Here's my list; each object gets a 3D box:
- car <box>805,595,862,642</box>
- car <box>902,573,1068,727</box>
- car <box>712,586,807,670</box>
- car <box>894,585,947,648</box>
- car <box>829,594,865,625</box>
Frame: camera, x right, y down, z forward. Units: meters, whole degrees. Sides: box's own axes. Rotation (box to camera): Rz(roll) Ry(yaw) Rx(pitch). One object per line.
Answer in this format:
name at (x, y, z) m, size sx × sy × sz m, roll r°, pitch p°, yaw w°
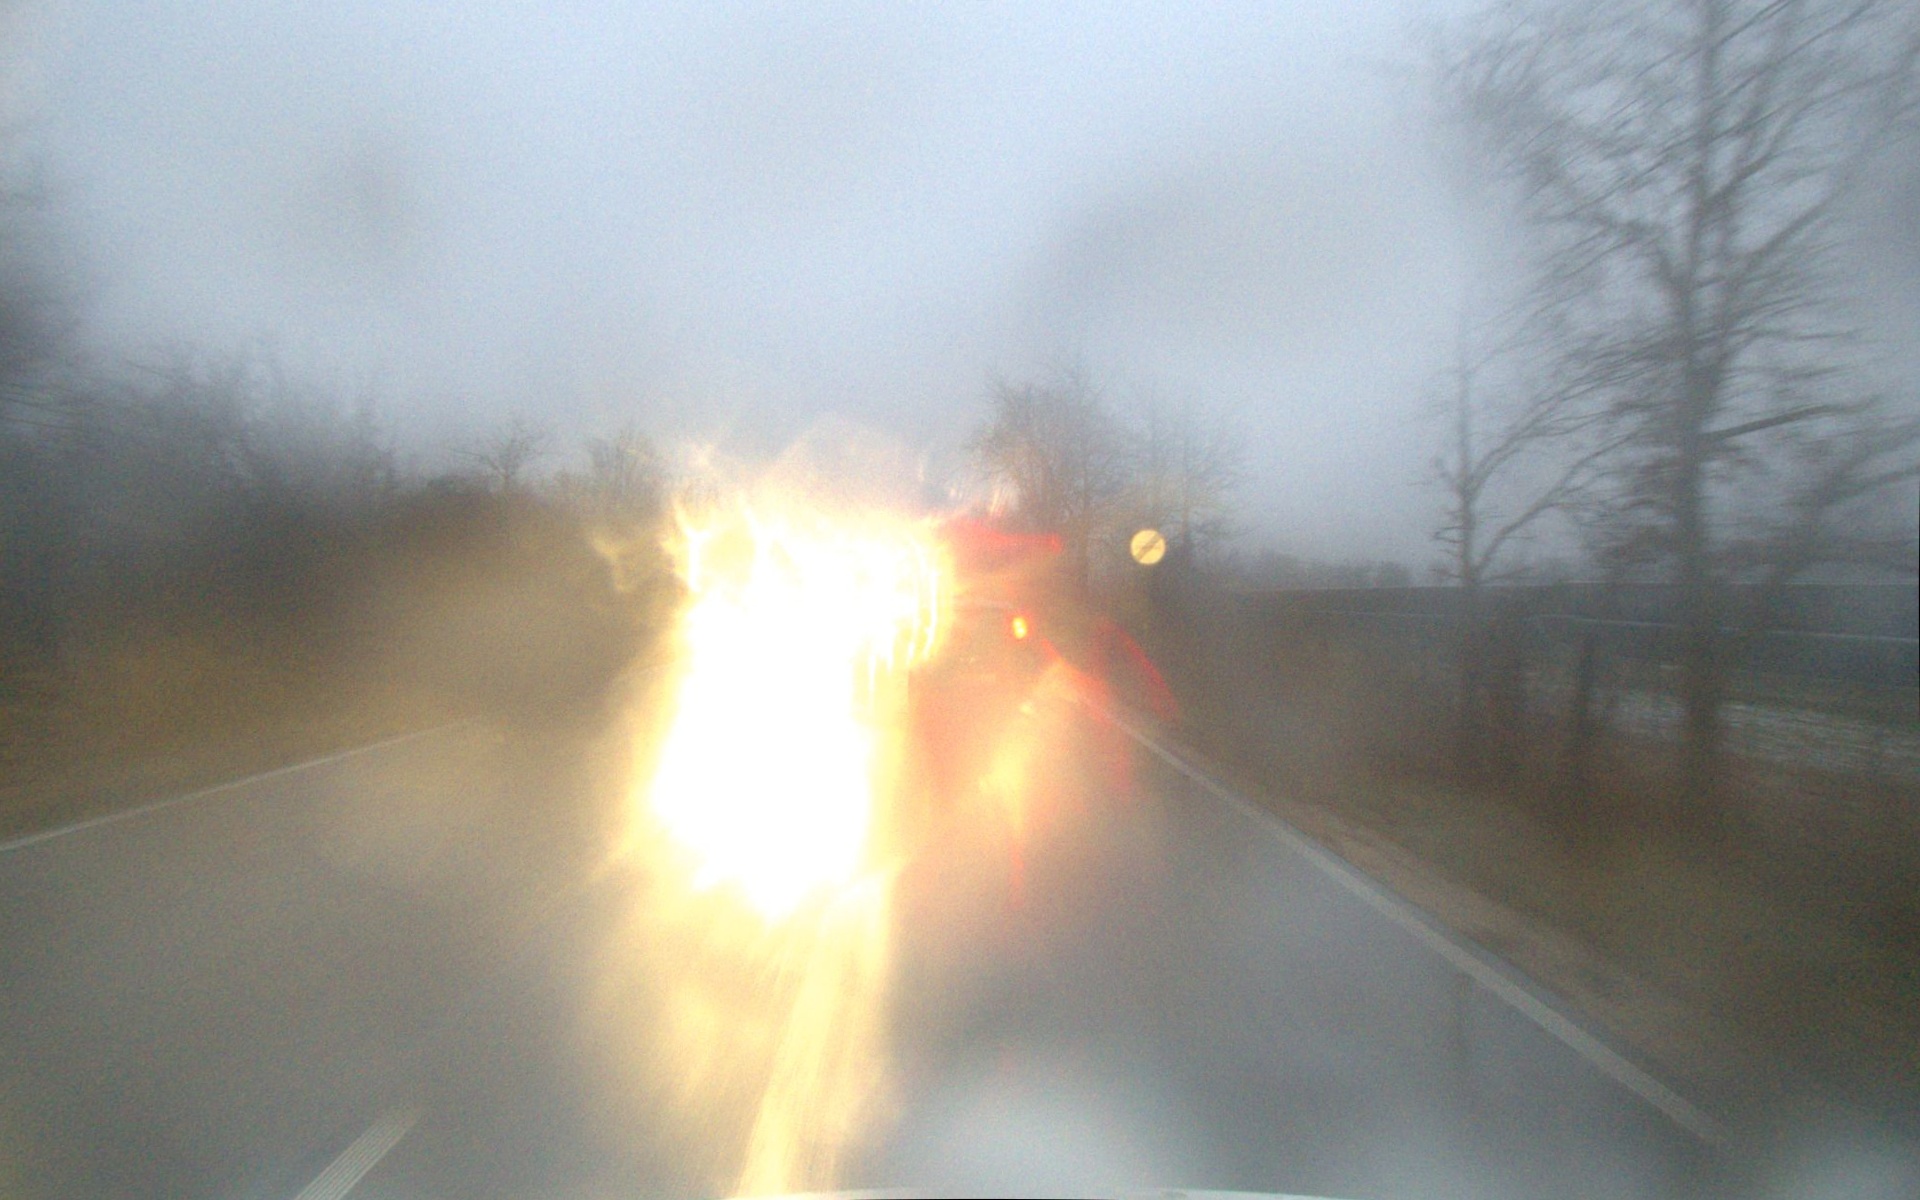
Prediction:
car at (-4.546, 0.627, 59.970) m, size 1.743 × 1.624 × 4.692 m, roll 0°, pitch 0°, yaw -1°
car at (0.308, 0.601, 21.847) m, size 1.953 × 1.816 × 4.000 m, roll 1°, pitch 0°, yaw 0°
car at (-4.208, 0.563, 35.156) m, size 1.717 × 1.676 × 4.046 m, roll 0°, pitch 0°, yaw -3°
car at (-1.227, 0.509, 52.416) m, size 1.542 × 1.907 × 3.709 m, roll 1°, pitch 0°, yaw 0°
car at (-6.411, 0.525, 94.205) m, size 1.884 × 1.683 × 4.103 m, roll 1°, pitch 0°, yaw -2°
